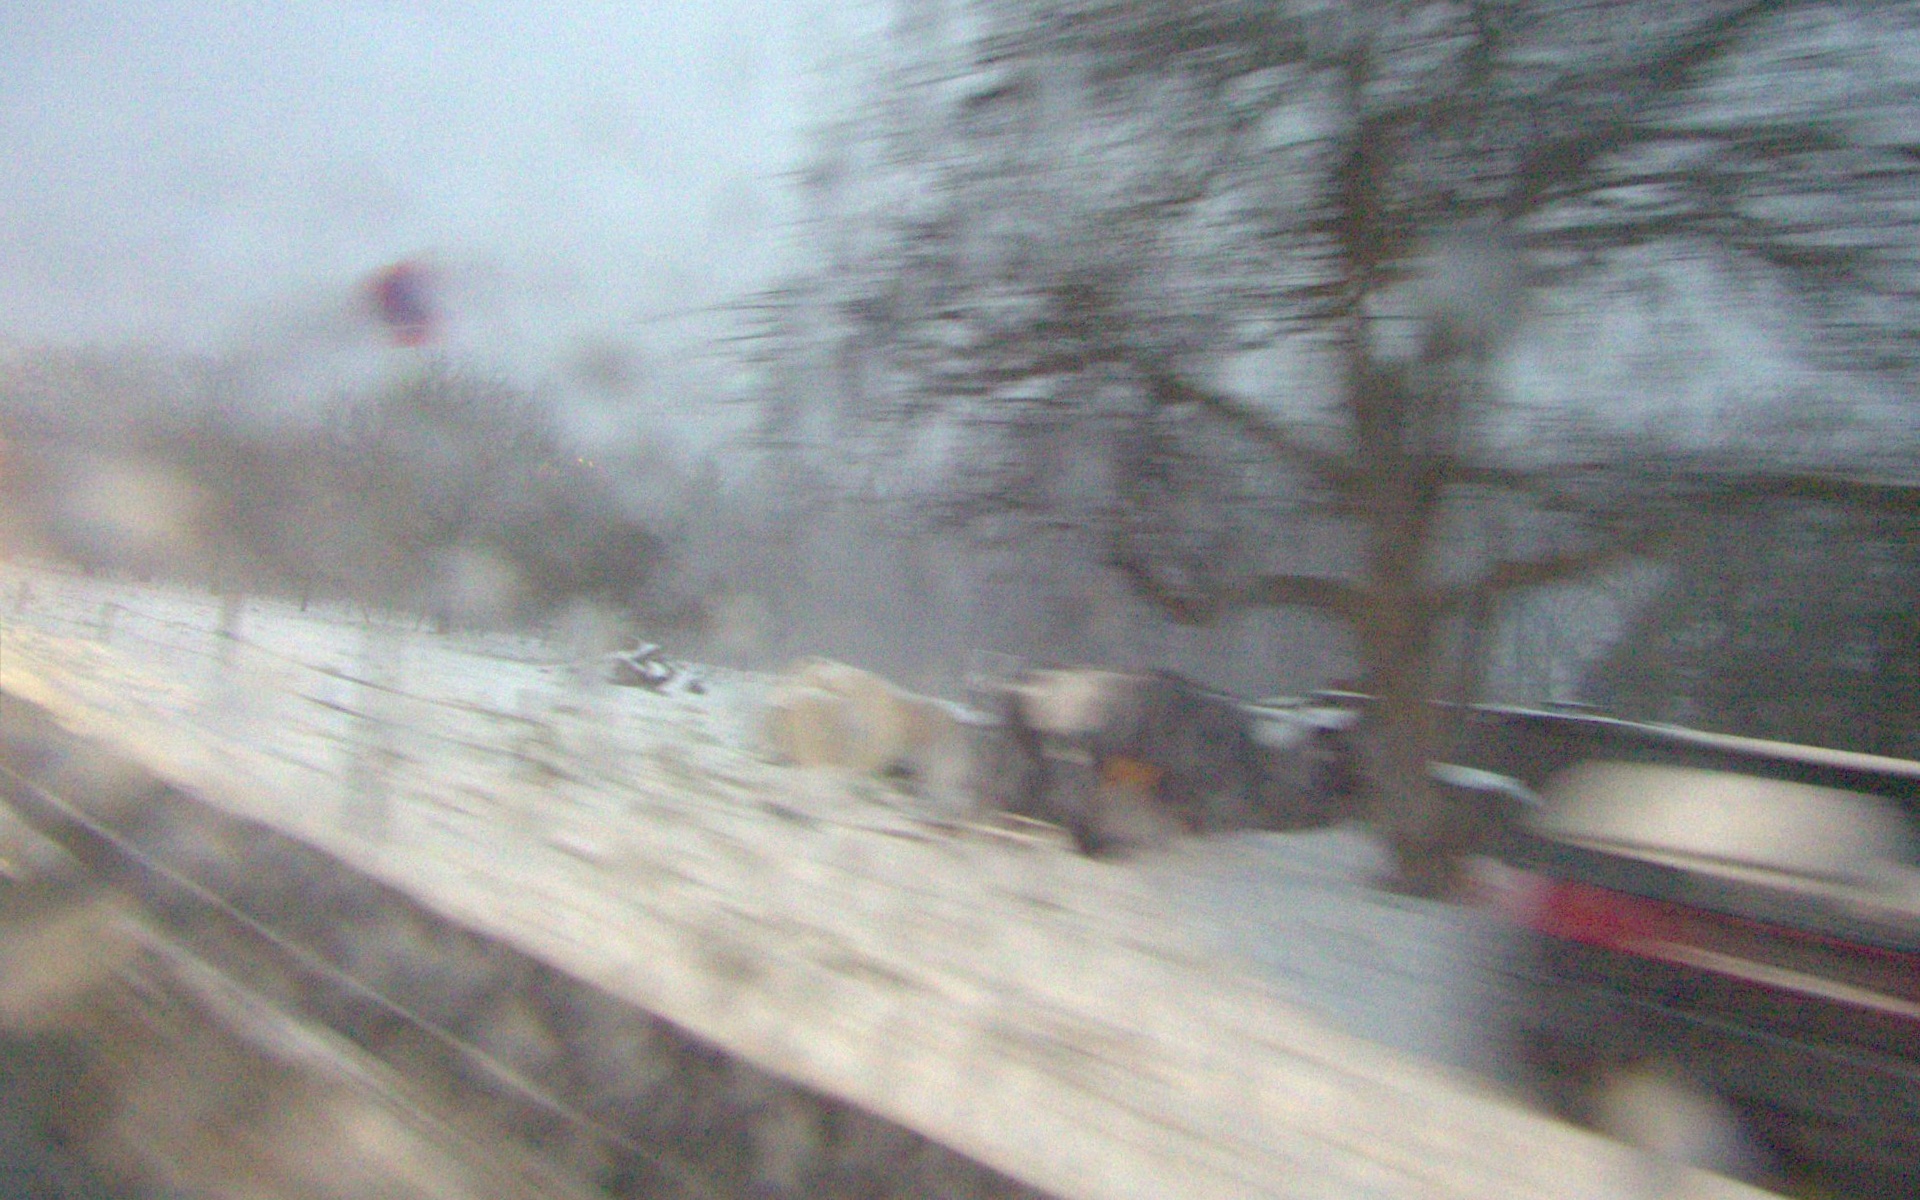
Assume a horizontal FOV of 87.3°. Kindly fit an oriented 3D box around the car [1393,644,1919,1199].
[{"bbox_3d":[3.469,1.312,4.414,2.003,1.395,4.465,7,-6,34],"label":"car"}]

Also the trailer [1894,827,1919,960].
[{"bbox_3d":[8.704,2.509,6.930,2.206,1.103,3.884,7,-3,27],"label":"trailer"}]

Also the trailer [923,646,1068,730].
[{"bbox_3d":[1.168,2.678,29.956,2.186,1.963,4.757,7,-3,29],"label":"trailer"}]
